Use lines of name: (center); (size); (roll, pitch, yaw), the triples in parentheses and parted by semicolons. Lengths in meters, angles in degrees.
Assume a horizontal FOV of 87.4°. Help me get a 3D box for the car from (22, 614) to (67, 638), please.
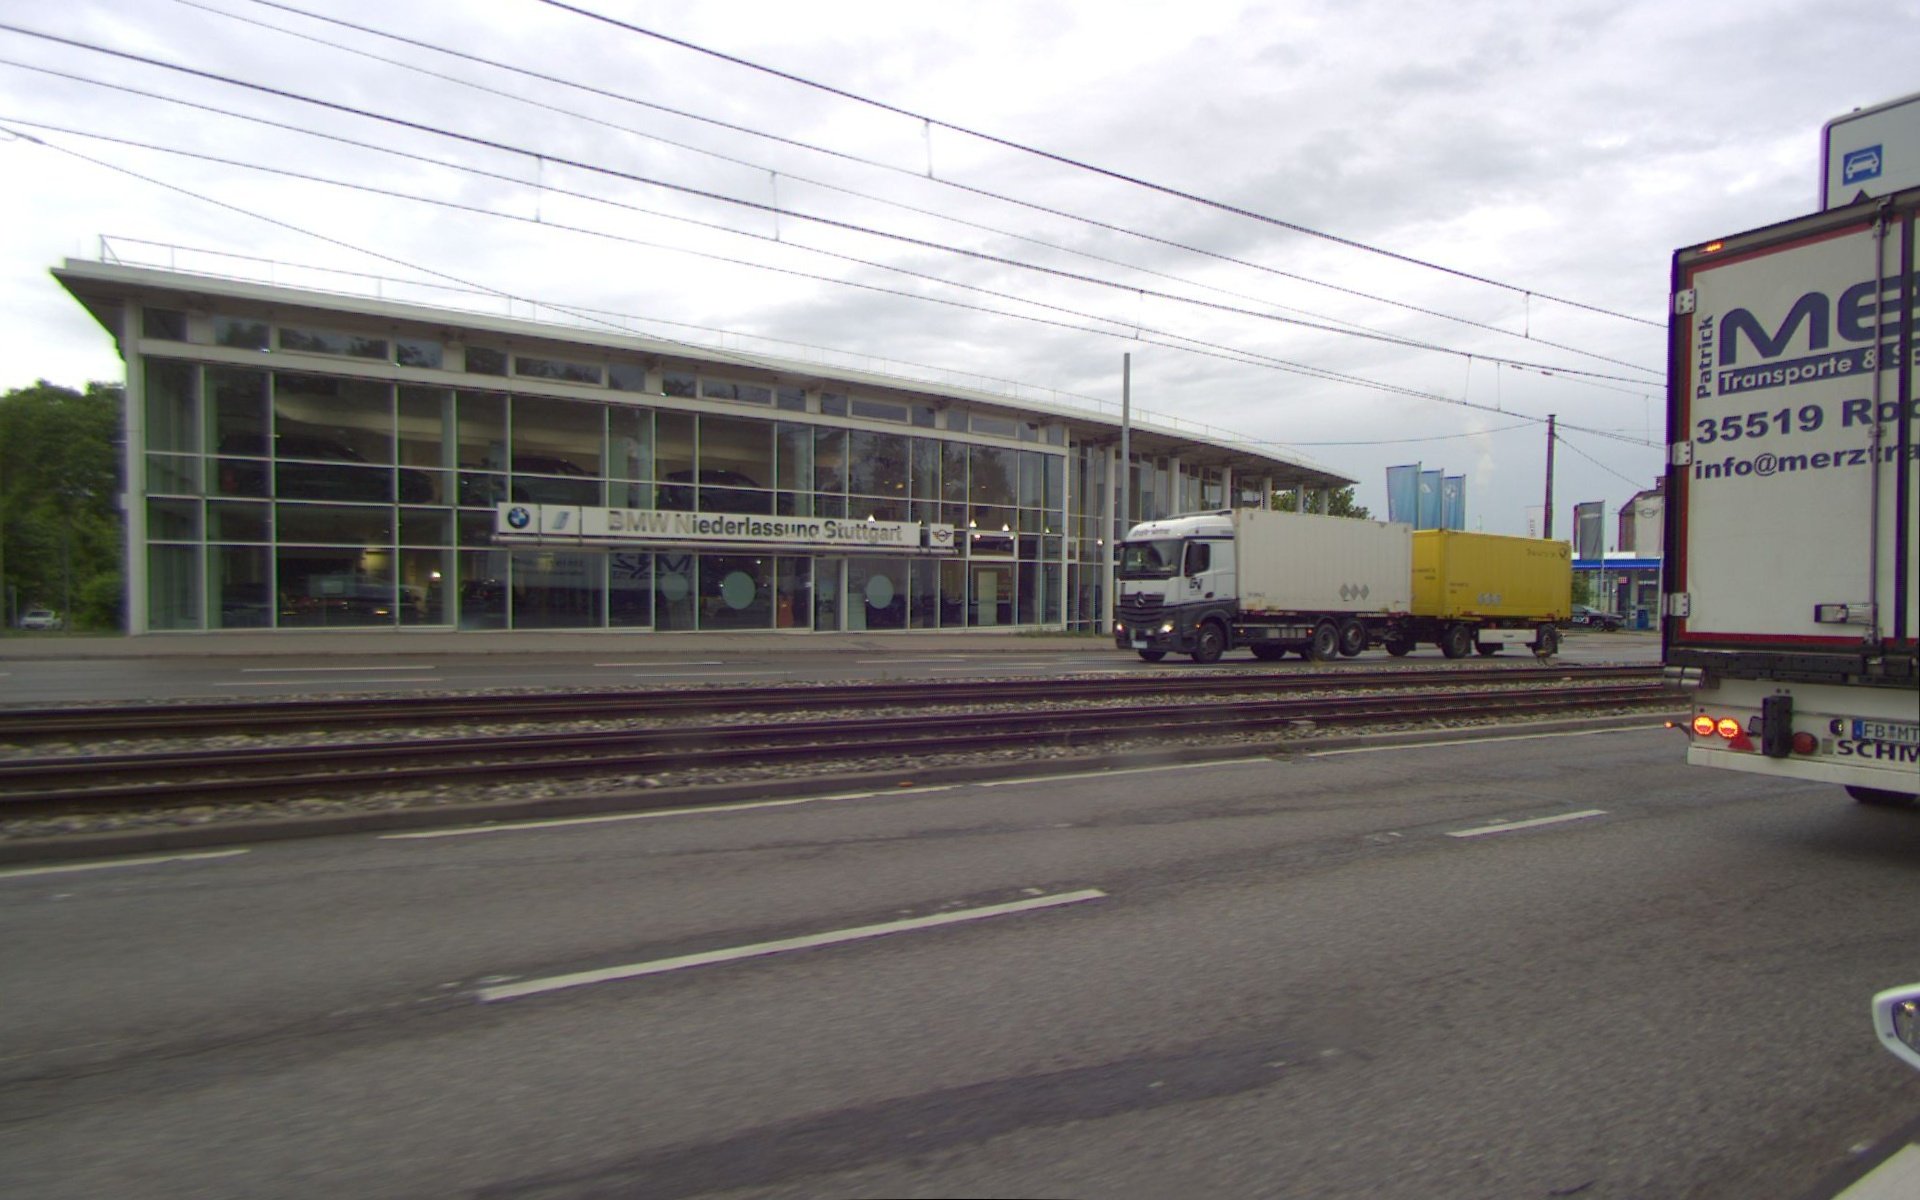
car: (-62.770, 1.756, 68.900); (1.594, 1.452, 4.133); (1, 0, -33)

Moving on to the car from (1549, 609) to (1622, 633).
car: (38.920, 1.287, 62.568); (1.694, 1.291, 3.503); (1, 1, -26)

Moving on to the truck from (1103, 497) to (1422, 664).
truck: (8.819, -0.386, 28.485); (10.028, 4.105, 2.669); (1, 0, -32)

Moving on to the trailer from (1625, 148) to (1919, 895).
trailer: (11.048, -0.352, 9.267); (13.027, 4.309, 2.749); (1, -1, -30)

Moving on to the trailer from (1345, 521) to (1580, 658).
trailer: (16.924, -0.227, 33.538); (8.981, 4.105, 2.669); (1, 0, -32)
